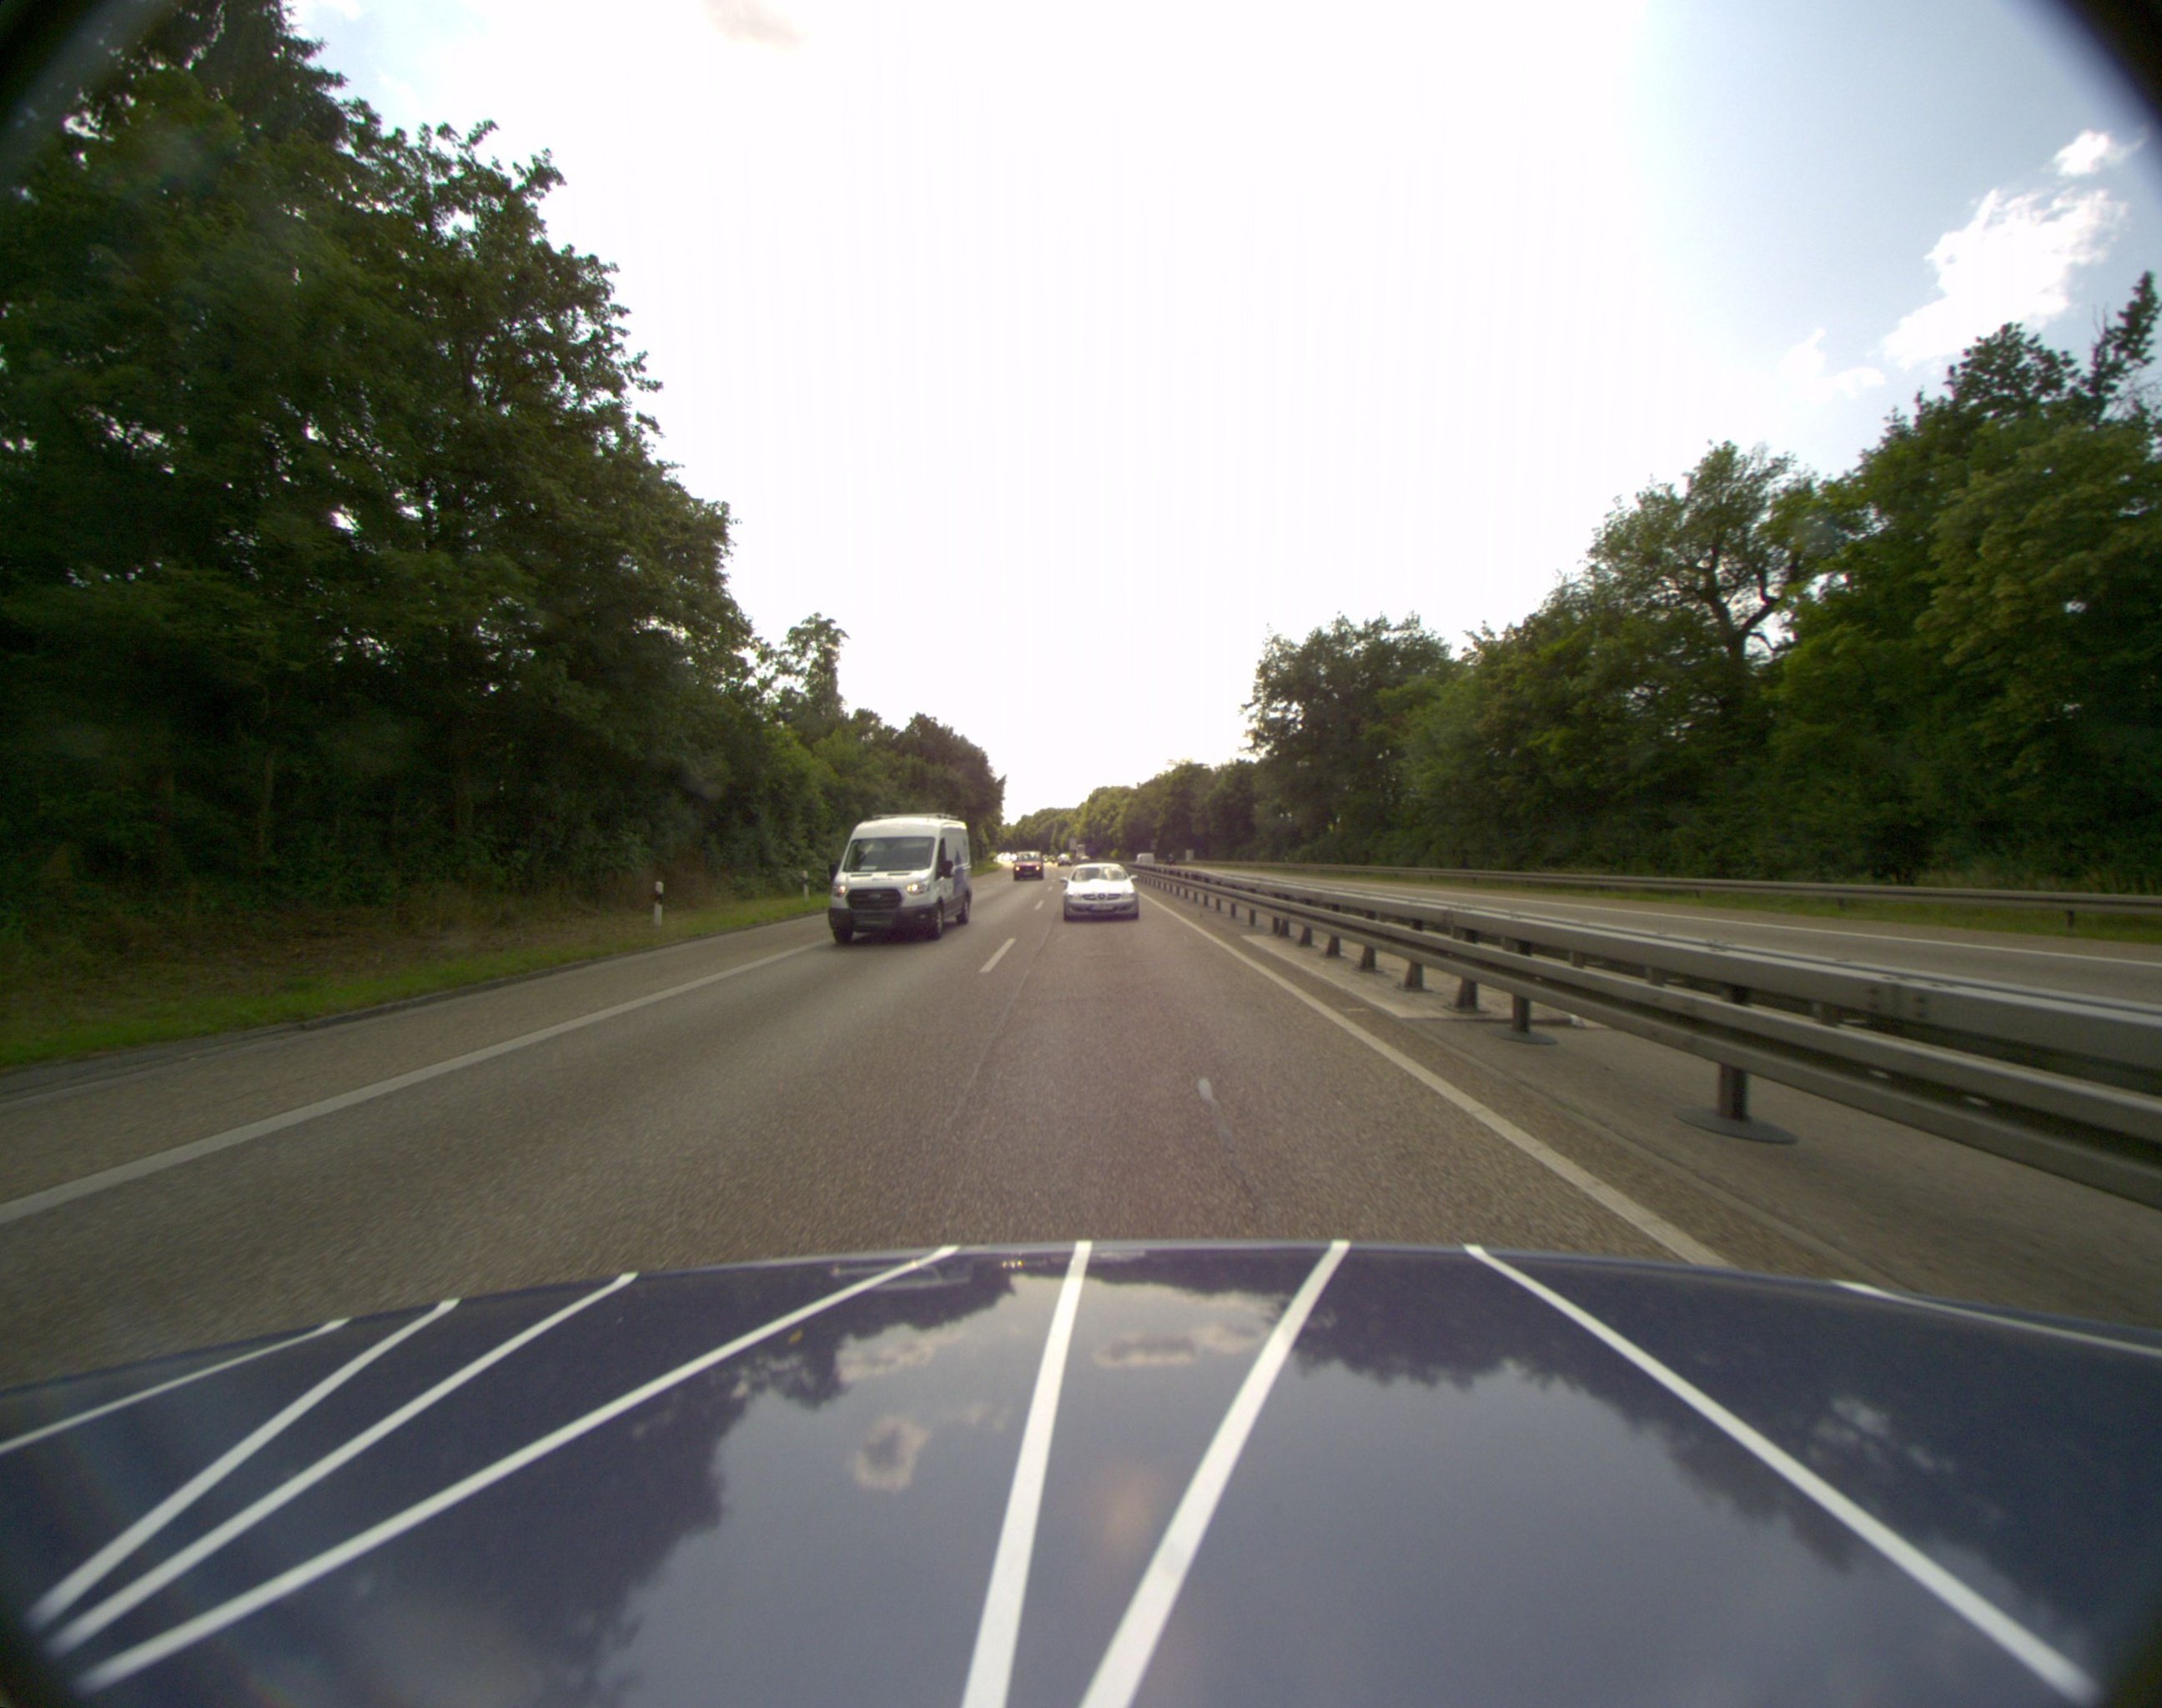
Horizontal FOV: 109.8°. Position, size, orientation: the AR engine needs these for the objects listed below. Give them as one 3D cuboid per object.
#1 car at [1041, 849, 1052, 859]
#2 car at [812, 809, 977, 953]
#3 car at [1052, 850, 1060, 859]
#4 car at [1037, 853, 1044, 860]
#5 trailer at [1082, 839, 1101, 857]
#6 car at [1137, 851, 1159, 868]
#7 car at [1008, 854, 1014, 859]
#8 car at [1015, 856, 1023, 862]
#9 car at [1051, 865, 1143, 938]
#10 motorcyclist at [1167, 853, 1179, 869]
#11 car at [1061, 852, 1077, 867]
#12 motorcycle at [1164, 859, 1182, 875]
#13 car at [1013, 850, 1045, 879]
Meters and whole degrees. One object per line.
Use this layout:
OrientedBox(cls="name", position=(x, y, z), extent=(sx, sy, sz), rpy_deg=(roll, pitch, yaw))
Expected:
OrientedBox(cls="car", position=(-6.806, -0.058, 150.165), extent=(2.000, 2.002, 3.998), rpy_deg=(0, 0, -6))
OrientedBox(cls="car", position=(-3.675, 0.471, 16.132), extent=(2.104, 2.493, 5.279), rpy_deg=(-2, 0, 0))
OrientedBox(cls="car", position=(-4.378, 0.085, 132.947), extent=(1.473, 1.560, 3.294), rpy_deg=(0, 0, -2))
OrientedBox(cls="car", position=(-9.218, 0.468, 172.957), extent=(1.700, 1.579, 3.999), rpy_deg=(0, 0, -2))
OrientedBox(cls="trailer", position=(2.464, -1.440, 177.556), extent=(3.414, 4.056, 12.973), rpy_deg=(-1, 1, -4))
OrientedBox(cls="car", position=(7.312, 0.622, 83.349), extent=(1.849, 1.808, 5.477), rpy_deg=(0, 0, -1))
OrientedBox(cls="car", position=(-21.586, 0.757, 232.759), extent=(1.786, 1.512, 3.998), rpy_deg=(0, 0, -6))
OrientedBox(cls="car", position=(-15.065, 1.177, 185.166), extent=(1.786, 1.512, 3.998), rpy_deg=(0, 0, -4))
OrientedBox(cls="car", position=(0.370, 0.972, 17.491), extent=(1.751, 1.295, 5.223), rpy_deg=(-2, 0, 1))
OrientedBox(cls="motorcyclist", position=(7.002, 0.530, 58.086), extent=(0.827, 1.219, 0.720), rpy_deg=(0, 1, 0))
OrientedBox(cls="car", position=(-1.680, 0.771, 103.650), extent=(1.999, 2.002, 3.999), rpy_deg=(0, 0, -3))
OrientedBox(cls="motorcycle", position=(7.002, 0.981, 58.205), extent=(1.002, 1.194, 2.997), rpy_deg=(0, 0, 0))
OrientedBox(cls="car", position=(-3.417, 0.691, 50.871), extent=(1.909, 1.795, 4.394), rpy_deg=(-2, 0, -2))
